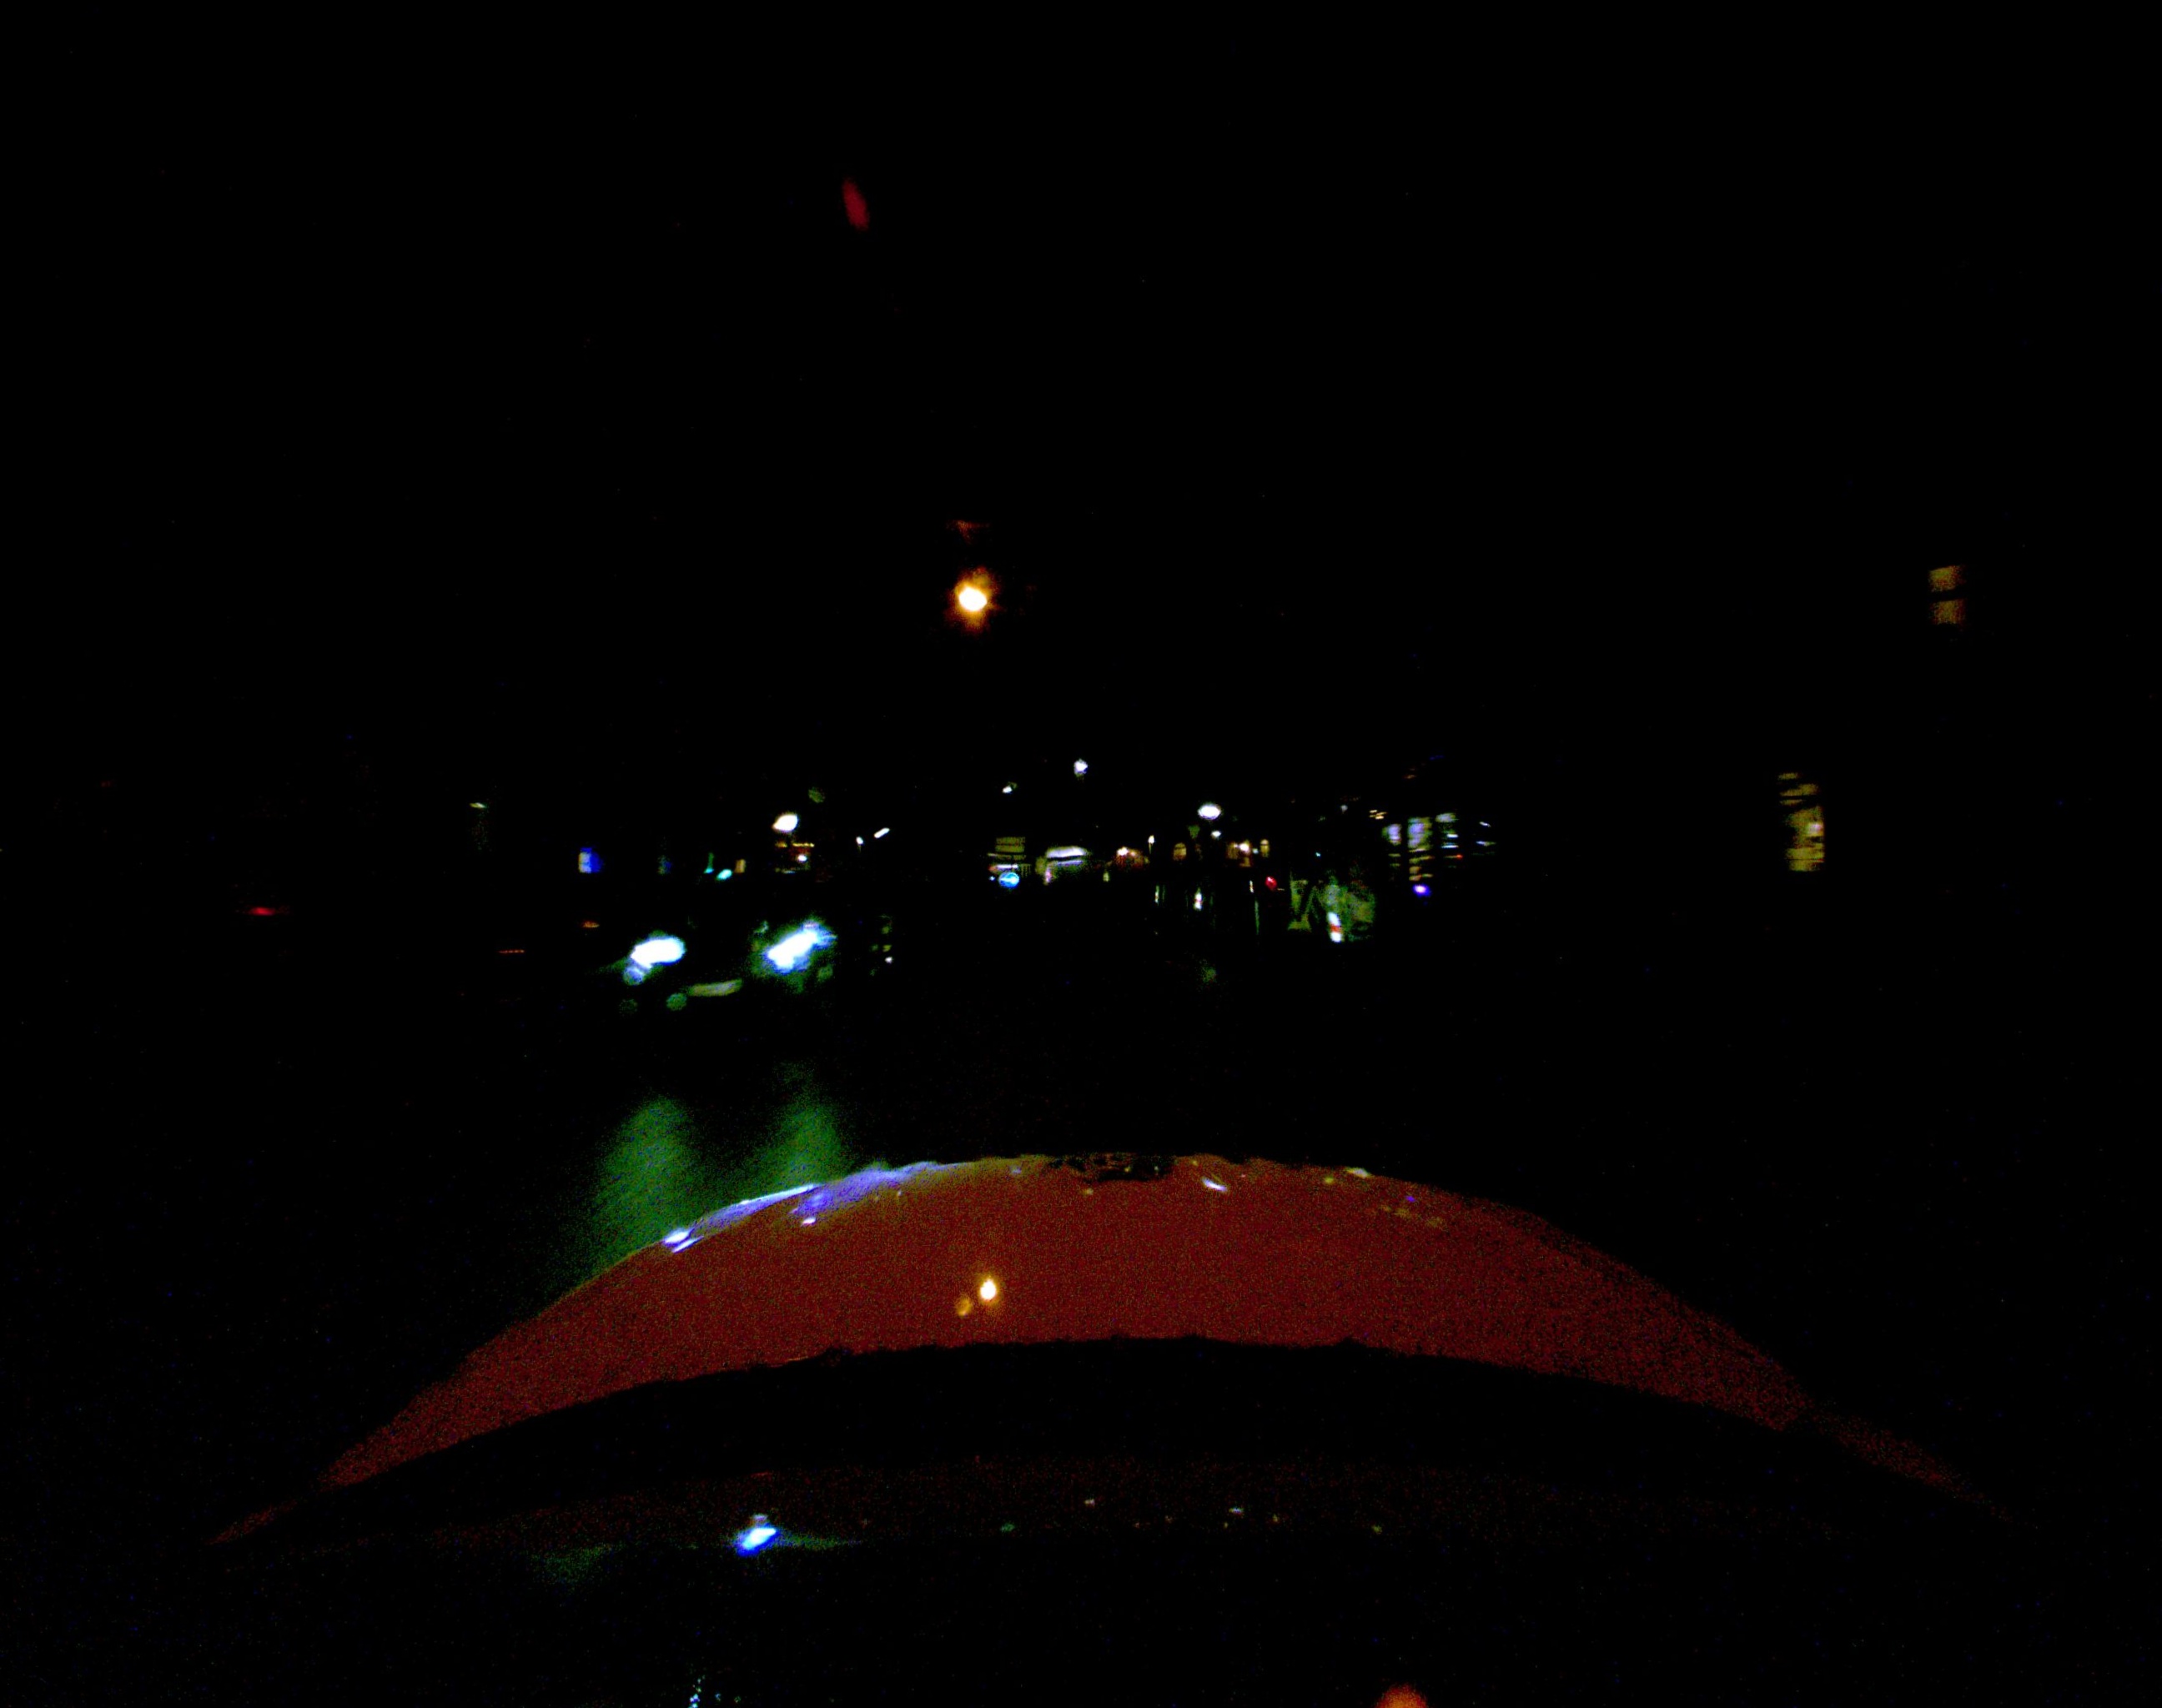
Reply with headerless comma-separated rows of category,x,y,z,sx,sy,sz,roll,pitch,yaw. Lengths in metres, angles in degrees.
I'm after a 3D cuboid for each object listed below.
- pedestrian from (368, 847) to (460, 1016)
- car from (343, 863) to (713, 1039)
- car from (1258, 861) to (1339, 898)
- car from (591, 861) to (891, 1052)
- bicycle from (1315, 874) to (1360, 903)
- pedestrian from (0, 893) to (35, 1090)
pedestrian,-8.195,0.922,10.046,0.659,1.974,0.763,1,-2,-25
car,-6.618,1.016,10.528,1.829,1.717,4.588,-1,-1,-3
car,9.996,1.166,37.369,3.473,1.614,1.719,1,-2,-32
car,-3.641,0.965,9.768,1.917,1.618,4.566,-3,-1,-5
bicycle,9.827,1.320,31.193,0.453,1.059,1.645,-1,-1,-37
pedestrian,-8.814,1.083,6.211,0.658,1.552,0.758,1,-2,-18
